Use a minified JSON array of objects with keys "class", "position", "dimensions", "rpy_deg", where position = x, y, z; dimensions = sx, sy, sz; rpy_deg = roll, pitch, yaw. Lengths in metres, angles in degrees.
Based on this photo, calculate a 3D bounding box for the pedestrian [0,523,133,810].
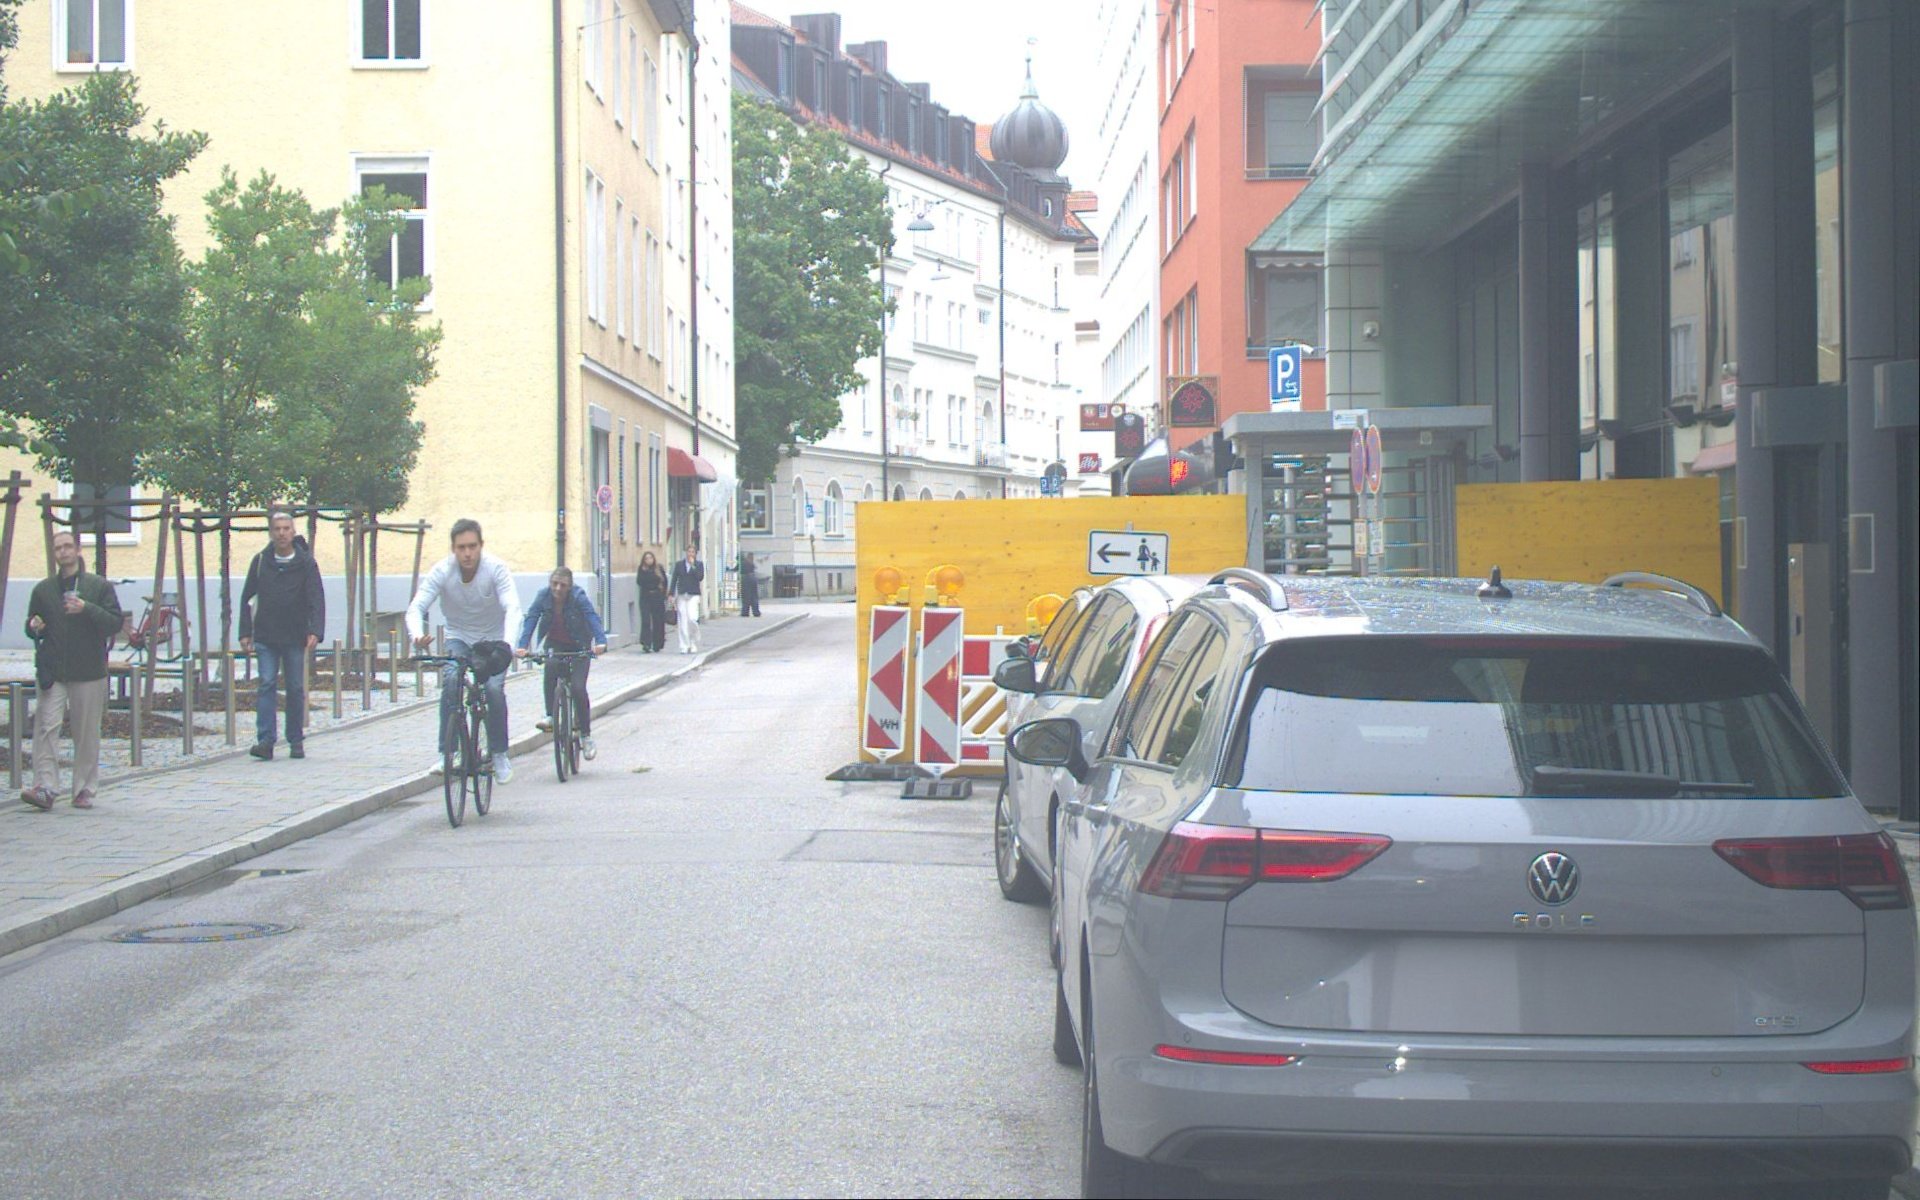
[{"class":"pedestrian","position":[-5.314,0.385,20.387],"dimensions":[0.647,1.671,0.724],"rpy_deg":[0,0,-1]}]

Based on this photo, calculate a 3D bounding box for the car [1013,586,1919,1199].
[{"class":"car","position":[1.058,0.695,8.598],"dimensions":[1.708,1.427,4.329],"rpy_deg":[0,1,-1]}]

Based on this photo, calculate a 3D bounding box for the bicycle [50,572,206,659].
[{"class":"bicycle","position":[-11.636,0.216,48.087],"dimensions":[2.044,1.193,0.570],"rpy_deg":[0,1,7]}]

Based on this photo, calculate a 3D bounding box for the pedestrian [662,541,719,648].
[{"class":"pedestrian","position":[-4.272,-0.091,54.552],"dimensions":[0.839,1.695,0.803],"rpy_deg":[0,0,-1]}]

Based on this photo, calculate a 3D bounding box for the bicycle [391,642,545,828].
[{"class":"bicycle","position":[-3.003,0.802,21.143],"dimensions":[0.661,1.035,2.005],"rpy_deg":[-1,1,-1]}]

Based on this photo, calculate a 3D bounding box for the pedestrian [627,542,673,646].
[{"class":"pedestrian","position":[-4.953,-0.102,55.037],"dimensions":[0.670,1.642,0.761],"rpy_deg":[0,0,-1]}]

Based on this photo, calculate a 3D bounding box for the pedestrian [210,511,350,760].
[{"class":"pedestrian","position":[-5.236,0.267,26.524],"dimensions":[0.867,1.875,1.135],"rpy_deg":[0,0,-1]}]

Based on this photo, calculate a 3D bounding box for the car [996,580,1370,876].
[{"class":"car","position":[1.115,0.614,19.052],"dimensions":[1.708,1.409,4.510],"rpy_deg":[1,0,-1]}]

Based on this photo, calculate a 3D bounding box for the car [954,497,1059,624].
[{"class":"car","position":[0.927,-0.819,71.170],"dimensions":[1.993,2.528,4.975],"rpy_deg":[0,1,-1]}]

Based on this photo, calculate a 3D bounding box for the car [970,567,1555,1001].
[{"class":"car","position":[1.047,0.619,13.892],"dimensions":[1.707,1.462,4.238],"rpy_deg":[1,0,-4]}]

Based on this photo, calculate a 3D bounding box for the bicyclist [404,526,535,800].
[{"class":"bicyclist","position":[-3.000,0.372,21.083],"dimensions":[0.659,1.637,0.895],"rpy_deg":[-1,1,-1]}]

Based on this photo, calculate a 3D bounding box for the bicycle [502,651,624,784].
[{"class":"bicycle","position":[-2.960,0.867,25.786],"dimensions":[0.707,0.902,1.809],"rpy_deg":[-1,1,-1]}]

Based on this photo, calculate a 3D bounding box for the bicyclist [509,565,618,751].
[{"class":"bicyclist","position":[-2.968,0.423,25.788],"dimensions":[0.707,1.366,0.813],"rpy_deg":[-1,1,-1]}]

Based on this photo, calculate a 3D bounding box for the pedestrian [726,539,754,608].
[{"class":"pedestrian","position":[-5.355,-0.647,83.755],"dimensions":[0.634,1.669,0.517],"rpy_deg":[0,1,0]}]
